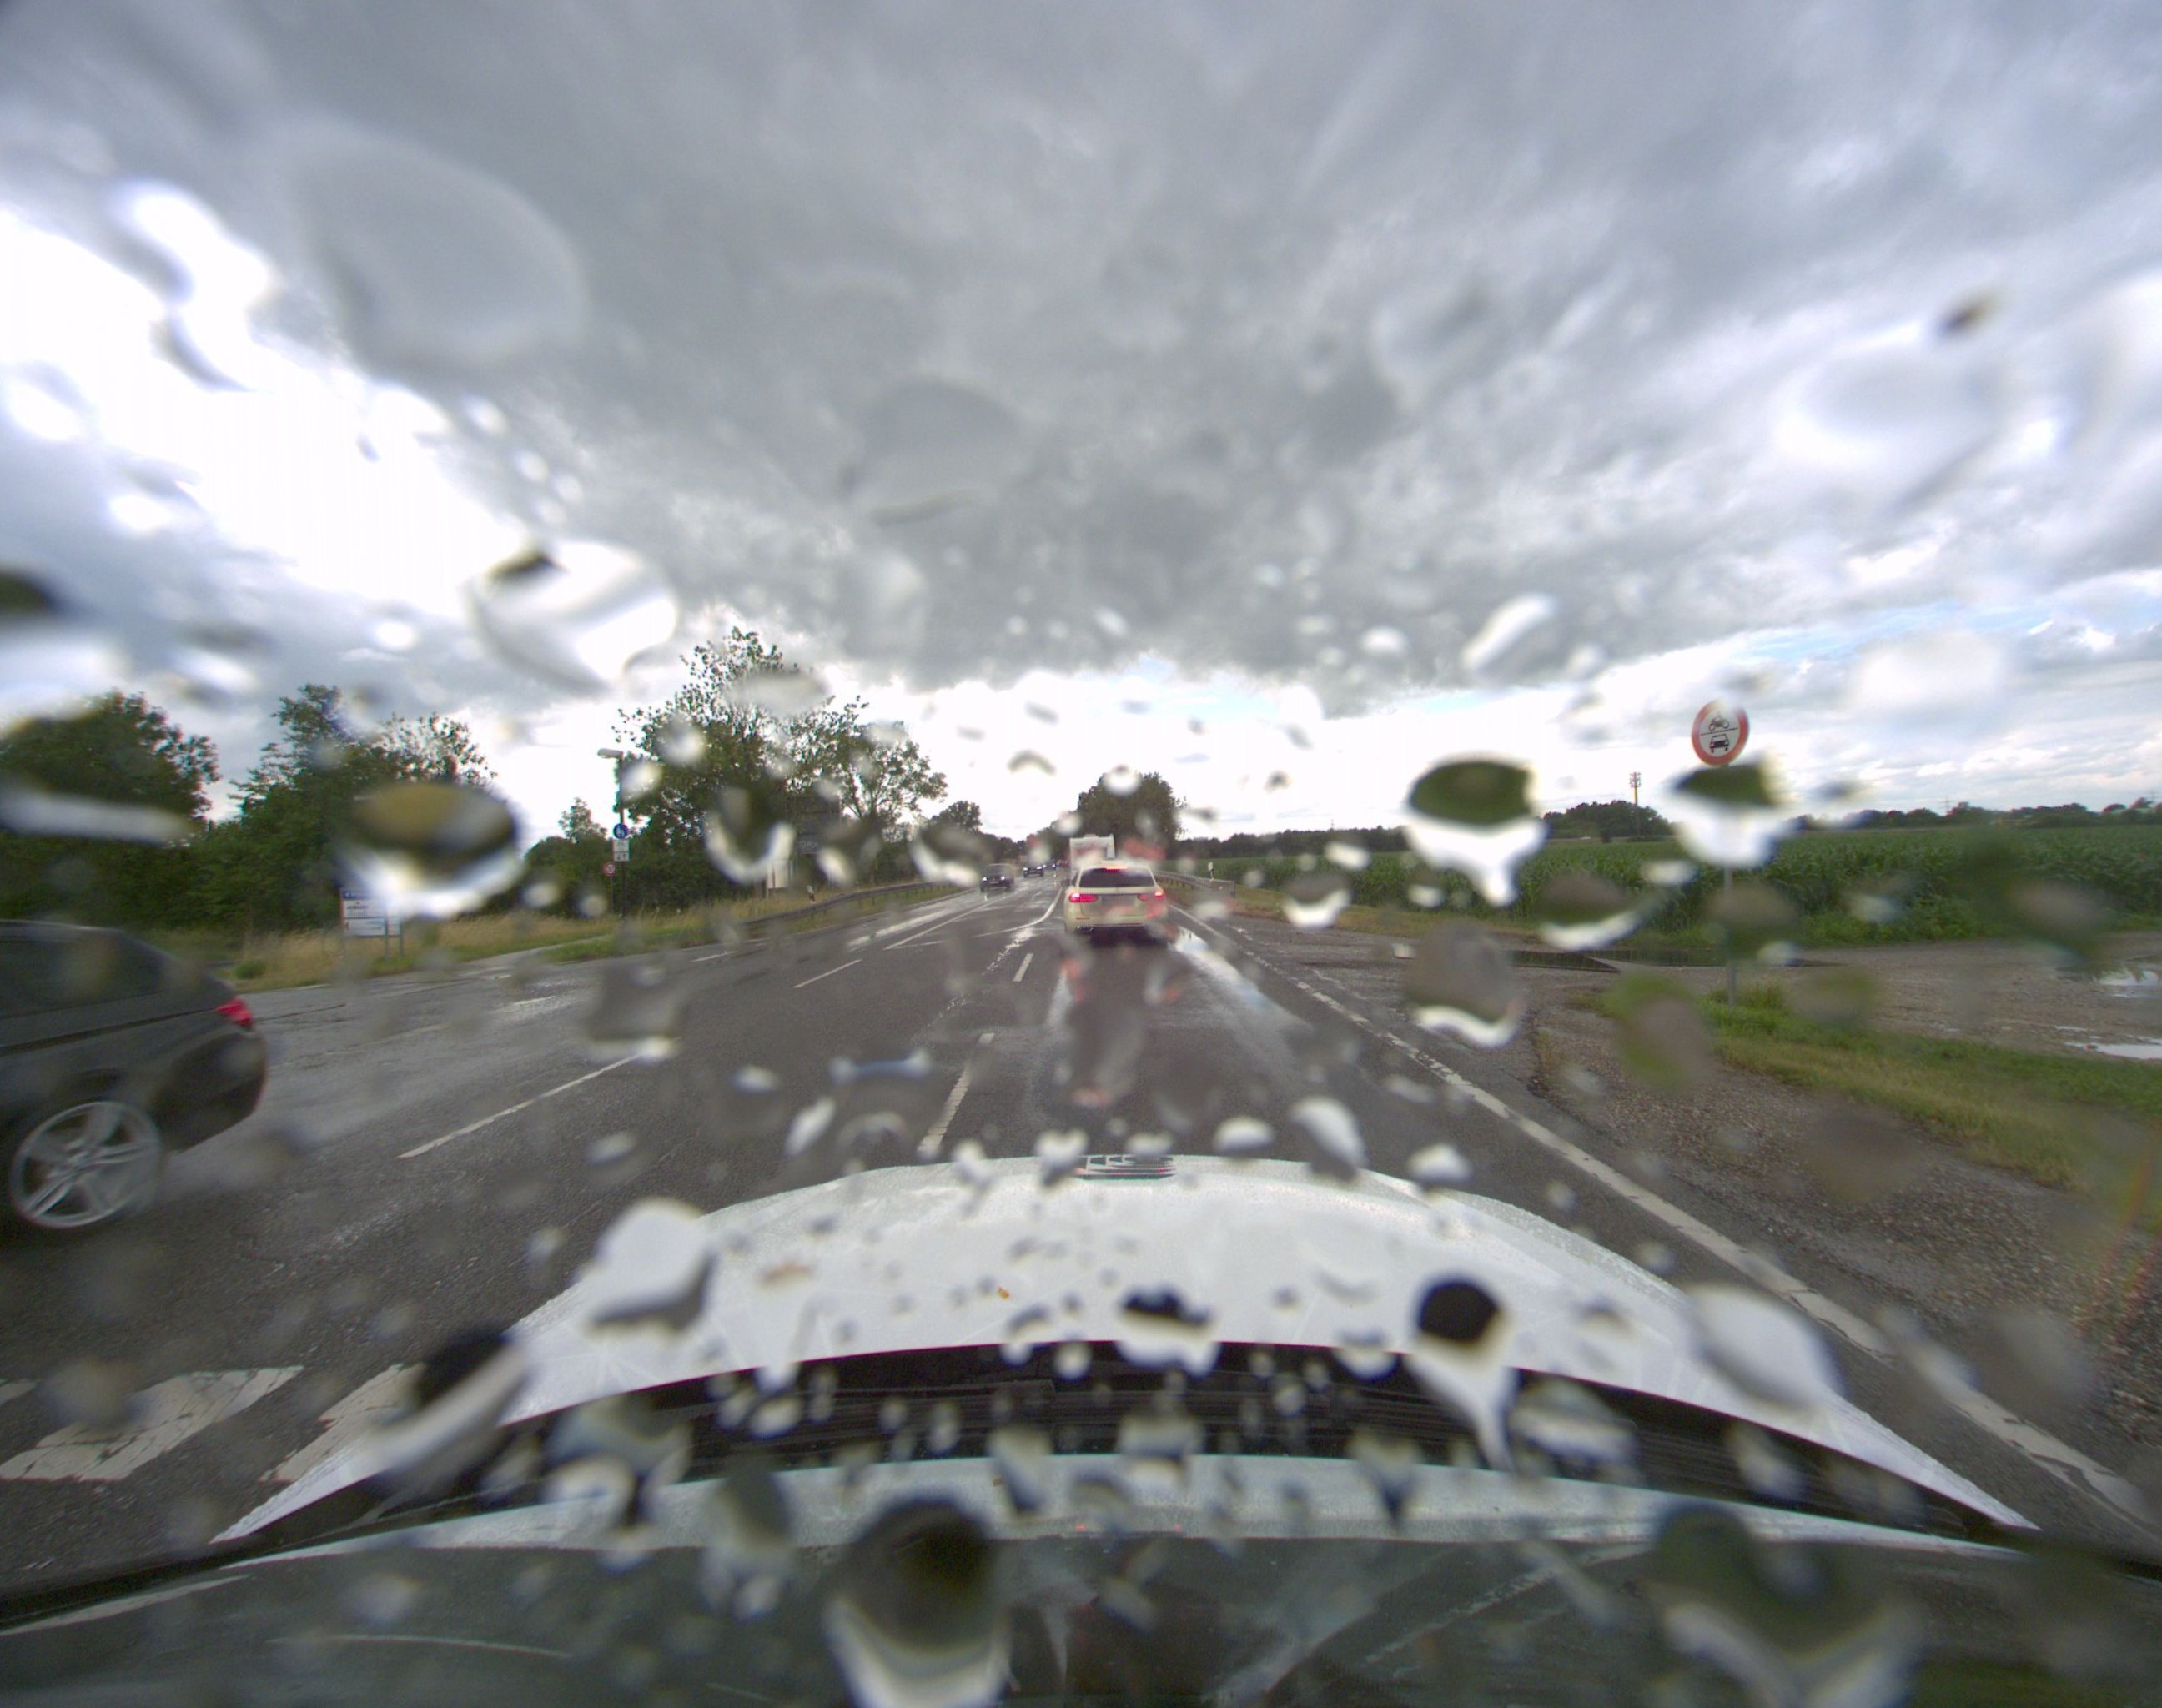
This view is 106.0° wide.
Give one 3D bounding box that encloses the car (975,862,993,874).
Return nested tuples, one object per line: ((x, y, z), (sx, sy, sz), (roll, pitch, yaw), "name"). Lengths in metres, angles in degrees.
((-14.266, 2.044, 119.540), (1.986, 1.651, 4.001), (-3, 0, 1), "car")

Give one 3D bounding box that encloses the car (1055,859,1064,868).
((-5.107, 2.140, 192.820), (1.991, 2.051, 3.992), (-2, 0, -5), "car")

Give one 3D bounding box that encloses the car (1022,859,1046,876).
((-4.705, 1.370, 82.009), (1.937, 1.580, 4.444), (-2, 0, 1), "car")

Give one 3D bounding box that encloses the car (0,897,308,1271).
((-5.255, 1.000, 2.344), (1.760, 1.438, 4.413), (-3, 0, 0), "car")

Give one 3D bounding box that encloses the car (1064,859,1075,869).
((-2.324, 1.968, 163.631), (1.989, 2.013, 3.996), (-2, 0, -3), "car")

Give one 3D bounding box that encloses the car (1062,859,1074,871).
((-2.287, 1.907, 144.655), (1.989, 2.013, 3.996), (-2, 0, -3), "car")

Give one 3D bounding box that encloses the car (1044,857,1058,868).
((-4.521, 1.321, 124.028), (1.763, 1.523, 4.142), (-4, 0, 1), "car")

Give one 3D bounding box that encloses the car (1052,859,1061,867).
((-6.064, 2.267, 202.280), (1.990, 2.013, 3.993), (-2, 0, -5), "car")

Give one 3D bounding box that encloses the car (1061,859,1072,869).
((-3.081, 2.040, 172.386), (1.990, 2.013, 3.994), (-2, 0, -4), "car")

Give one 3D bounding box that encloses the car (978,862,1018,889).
((-4.729, 1.213, 46.990), (1.705, 1.405, 3.816), (-3, 0, 2), "car")

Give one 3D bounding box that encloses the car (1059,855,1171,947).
((0.612, 0.795, 15.612), (1.818, 1.485, 4.146), (-1, 0, 1), "car")

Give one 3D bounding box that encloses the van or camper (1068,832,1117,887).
((0.599, 0.252, 44.004), (2.343, 2.680, 5.768), (-3, 0, 0), "van or camper")

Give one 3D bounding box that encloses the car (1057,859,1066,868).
((-4.470, 2.160, 186.740), (1.990, 2.013, 3.994), (-2, 0, -4), "car")

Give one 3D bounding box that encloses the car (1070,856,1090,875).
((-0.144, 1.452, 100.701), (2.240, 2.199, 5.409), (-2, 0, -1), "car")

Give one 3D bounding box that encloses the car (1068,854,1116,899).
((0.384, 0.793, 30.551), (1.622, 1.529, 3.932), (-3, 0, 0), "car")
